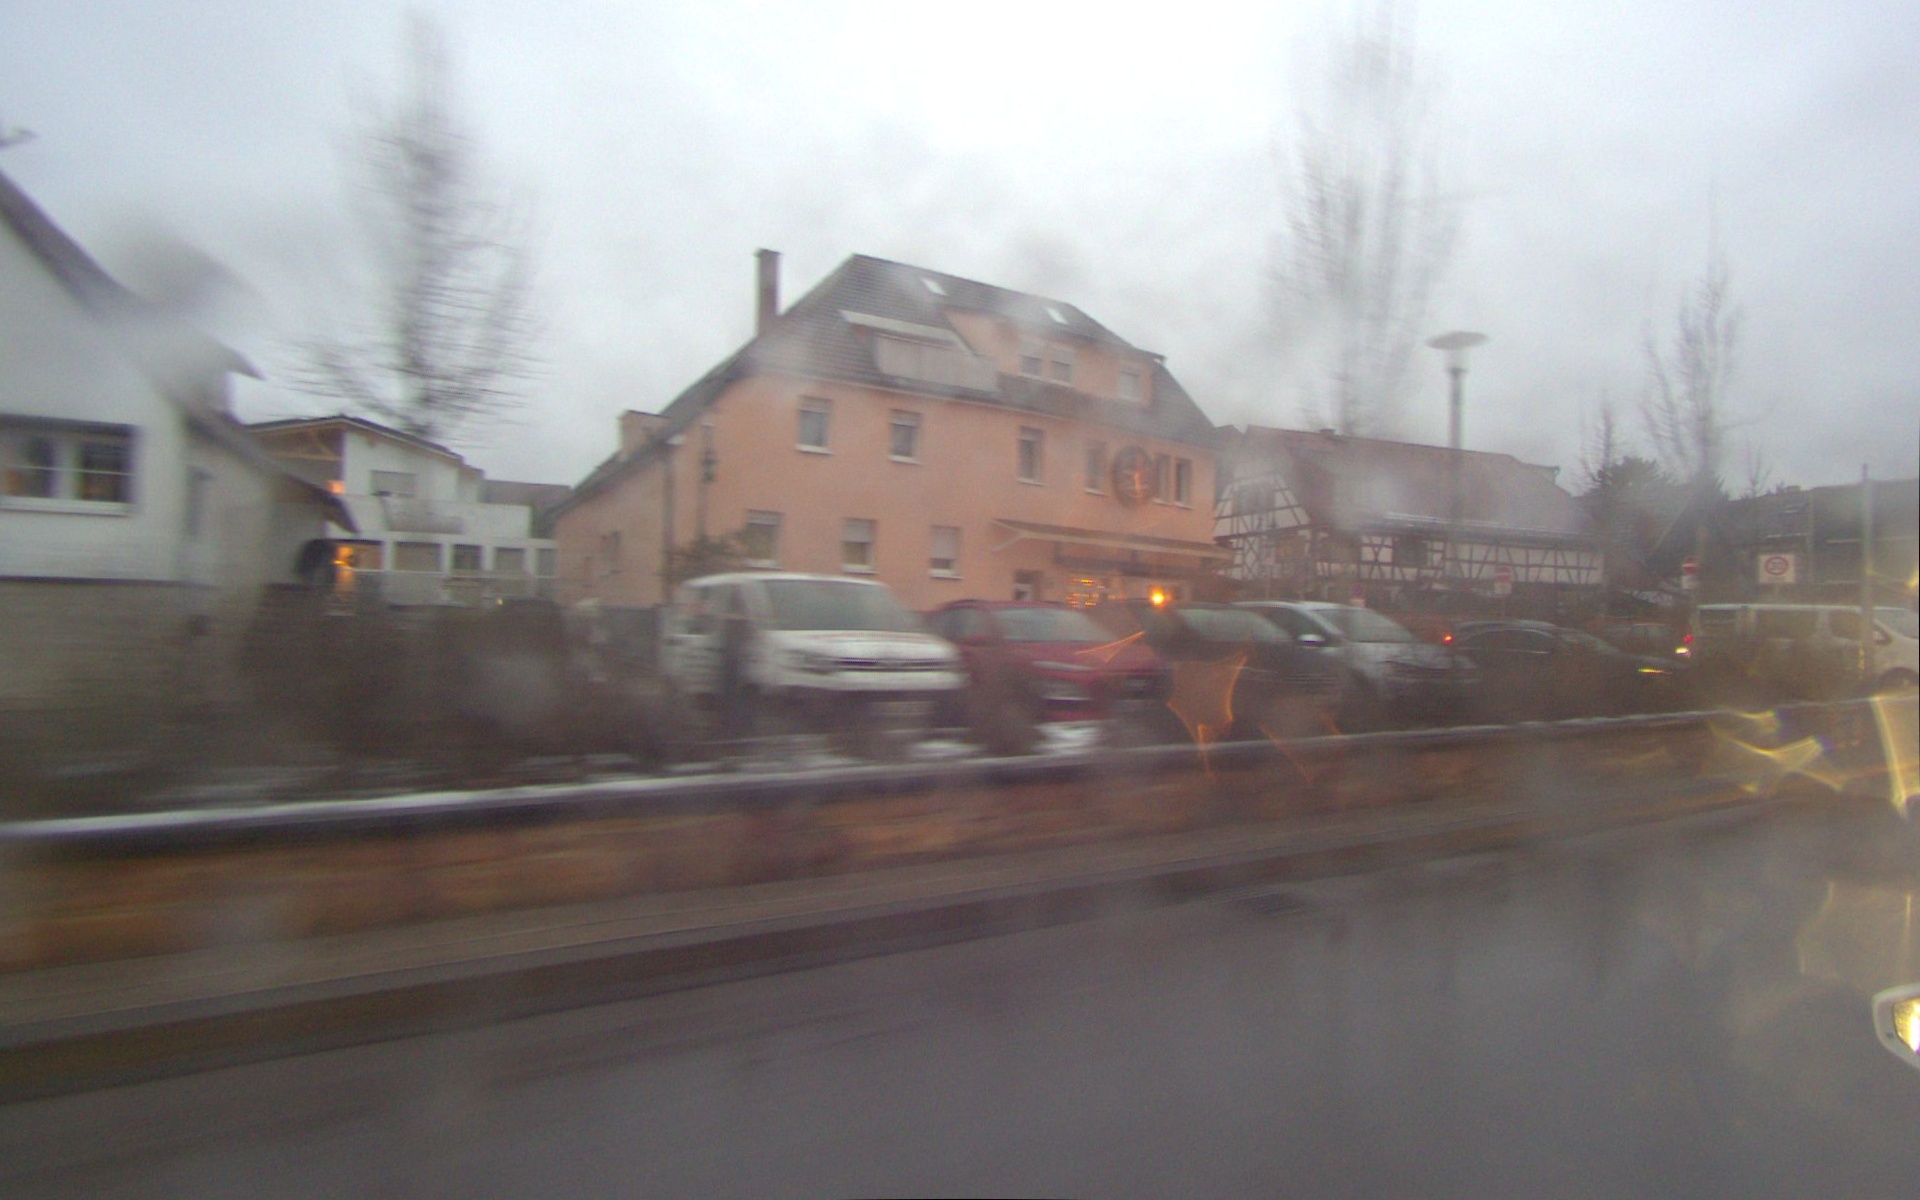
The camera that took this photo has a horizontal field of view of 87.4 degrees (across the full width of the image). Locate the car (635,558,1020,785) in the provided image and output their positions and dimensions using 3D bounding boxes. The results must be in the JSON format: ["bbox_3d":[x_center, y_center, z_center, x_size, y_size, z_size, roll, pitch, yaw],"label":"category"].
[{"bbox_3d":[-1.578,0.542,9.947,1.979,1.689,4.599,3,-1,-33],"label":"car"}]

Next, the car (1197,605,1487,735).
[{"bbox_3d":[5.130,0.877,13.937,1.687,1.466,3.532,3,0,-26],"label":"car"}]

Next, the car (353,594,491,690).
[{"bbox_3d":[-10.505,0.755,19.452,1.979,1.518,4.060,4,-1,-33],"label":"car"}]

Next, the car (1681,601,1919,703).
[{"bbox_3d":[18.632,1.039,21.358,1.684,1.842,5.393,2,1,-17],"label":"car"}]

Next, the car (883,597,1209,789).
[{"bbox_3d":[0.705,0.845,11.134,1.658,1.674,4.183,2,0,-26],"label":"car"}]

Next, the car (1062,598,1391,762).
[{"bbox_3d":[3.081,0.846,12.536,1.637,1.666,4.153,2,-1,-26],"label":"car"}]

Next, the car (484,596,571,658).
[{"bbox_3d":[-12.568,0.740,29.044,1.975,1.518,4.069,4,-1,-27],"label":"car"}]

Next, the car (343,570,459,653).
[{"bbox_3d":[-12.852,0.238,23.044,1.587,1.680,3.060,5,-1,-42],"label":"car"}]
